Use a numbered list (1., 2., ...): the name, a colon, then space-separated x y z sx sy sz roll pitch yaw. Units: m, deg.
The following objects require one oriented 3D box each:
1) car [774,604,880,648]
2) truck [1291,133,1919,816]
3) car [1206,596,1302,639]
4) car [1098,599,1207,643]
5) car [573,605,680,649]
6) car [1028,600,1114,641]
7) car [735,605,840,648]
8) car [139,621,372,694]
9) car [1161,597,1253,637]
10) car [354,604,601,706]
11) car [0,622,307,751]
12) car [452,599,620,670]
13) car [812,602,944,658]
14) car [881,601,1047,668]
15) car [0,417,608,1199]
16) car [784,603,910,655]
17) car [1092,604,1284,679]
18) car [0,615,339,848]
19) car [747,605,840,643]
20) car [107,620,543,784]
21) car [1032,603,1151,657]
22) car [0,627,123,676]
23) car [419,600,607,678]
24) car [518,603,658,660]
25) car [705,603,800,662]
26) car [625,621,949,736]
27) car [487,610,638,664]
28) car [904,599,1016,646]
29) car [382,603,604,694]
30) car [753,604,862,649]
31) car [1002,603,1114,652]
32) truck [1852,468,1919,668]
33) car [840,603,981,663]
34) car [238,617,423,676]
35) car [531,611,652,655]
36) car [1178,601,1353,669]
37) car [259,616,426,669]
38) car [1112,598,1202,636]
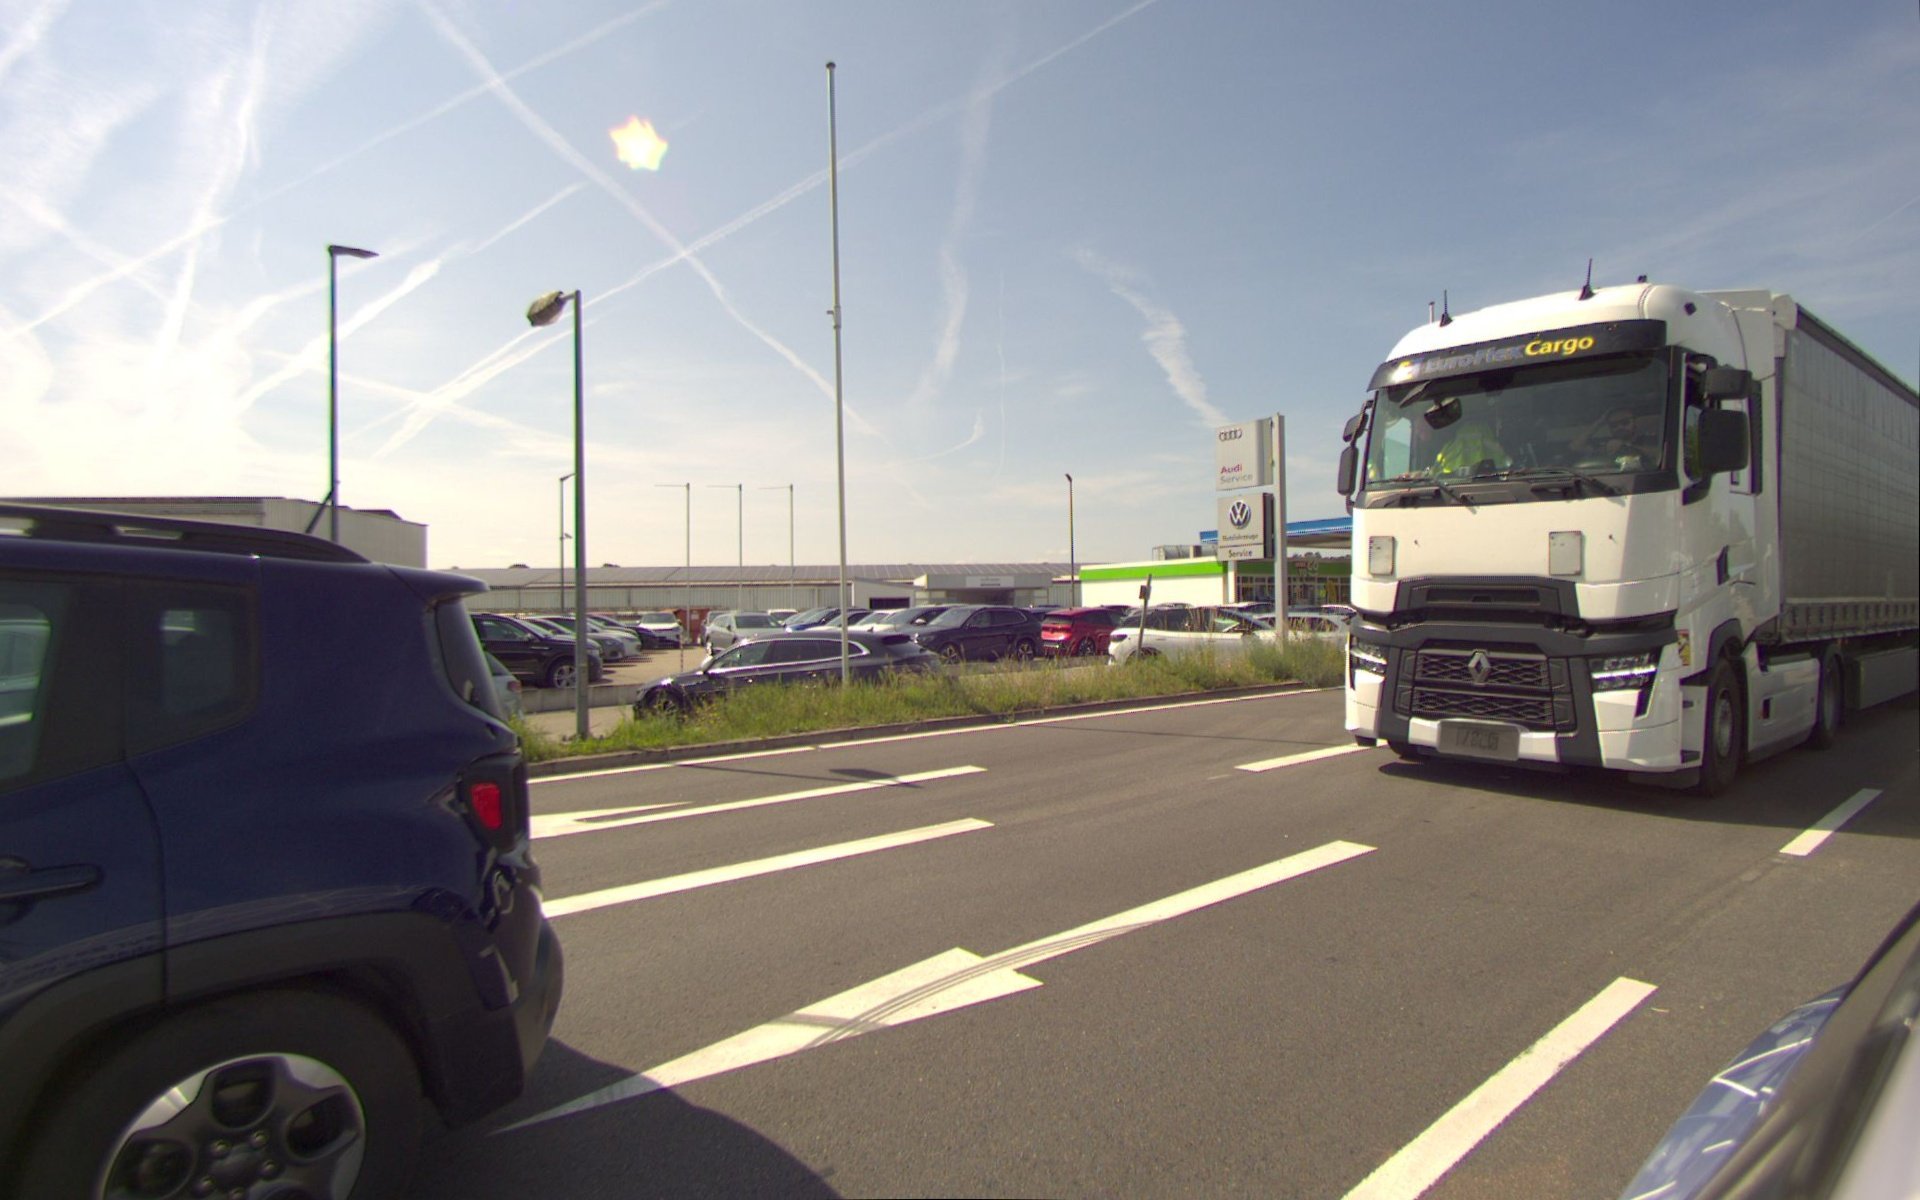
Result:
1. car: -4.776 0.899 36.535 3.530 1.426 1.562 -1 2 -38
2. truck: 10.145 -0.863 12.667 16.406 4.320 2.897 0 0 -39
3. car: 11.608 0.664 39.837 3.930 1.594 1.787 0 0 -41
4. car: 7.385 0.763 39.149 1.757 1.594 3.997 0 0 -38
5. car: -14.052 1.119 42.848 4.144 1.777 1.911 0 -1 -14
6. car: 4.756 0.868 43.858 1.721 1.672 3.652 0 0 -35
7. car: -7.024 1.055 41.353 3.895 1.638 1.709 0 0 -36
8. car: -16.499 1.308 23.976 4.143 1.526 1.987 0 -1 -19
9. car: 10.333 0.668 42.238 3.930 1.594 1.787 0 0 -41
10. car: -9.552 0.999 20.157 4.154 1.812 1.982 0 -1 -37
11. car: -13.108 1.286 16.325 4.157 1.777 1.906 0 -1 -39
12. car: -11.579 0.910 27.925 4.143 1.812 1.987 0 -1 -19
13. car: -2.599 0.903 32.258 3.895 1.638 1.709 0 0 -36
14. car: 0.140 0.869 27.770 4.201 1.678 1.999 0 0 -36
15. car: -2.915 0.530 1.824 3.930 1.706 1.822 0 1 -41
16. car: -3.759 0.938 34.023 3.895 1.638 1.709 0 0 -36
17. car: 4.708 0.802 20.905 3.624 1.420 1.724 0 0 24
18. car: -7.394 0.920 8.373 3.984 1.555 1.728 0 0 19
19. car: -7.614 1.077 46.406 3.895 1.638 1.709 0 0 -36
20. car: -6.551 0.943 10.506 3.984 1.420 1.728 0 0 19
21. car: 4.016 0.869 30.719 3.530 1.426 1.562 -1 2 -38
22. car: -25.760 1.423 28.408 3.664 1.270 1.599 -1 -1 13
23. car: -11.029 0.925 25.311 4.143 1.812 1.987 0 -1 -19
24. car: -12.119 0.997 33.231 4.143 1.777 1.911 0 -1 -14
25. car: -6.361 0.910 30.710 1.959 1.638 4.006 0 0 -25
26. car: -2.456 1.035 14.468 4.290 1.420 1.728 0 0 19
27. car: -11.973 1.077 30.757 4.143 1.526 1.987 0 -1 -19
28. car: 0.027 0.797 37.344 3.893 1.638 1.709 0 0 -35
29. car: -10.276 0.984 22.379 4.154 1.812 1.982 0 -1 -37
30. car: -5.925 0.979 39.500 3.895 1.638 1.709 0 0 -36
31. car: 3.230 0.861 33.112 3.530 1.426 1.562 -1 2 -38
32. truck: 23.091 -0.653 22.478 10.936 3.859 2.887 0 0 -38
33. car: -1.435 0.909 29.692 3.755 1.638 1.857 0 0 -36
34. car: -17.832 1.290 28.890 4.143 1.526 1.987 0 -1 -19
35. car: -13.693 1.204 37.799 4.143 1.526 1.987 0 -1 -19
36. car: 6.905 0.750 22.874 3.624 1.420 1.724 0 0 24
37. car: -19.292 1.299 31.818 4.143 1.526 1.987 0 -1 -19
38. car: 8.596 0.698 44.045 3.930 1.594 1.787 0 0 -41
